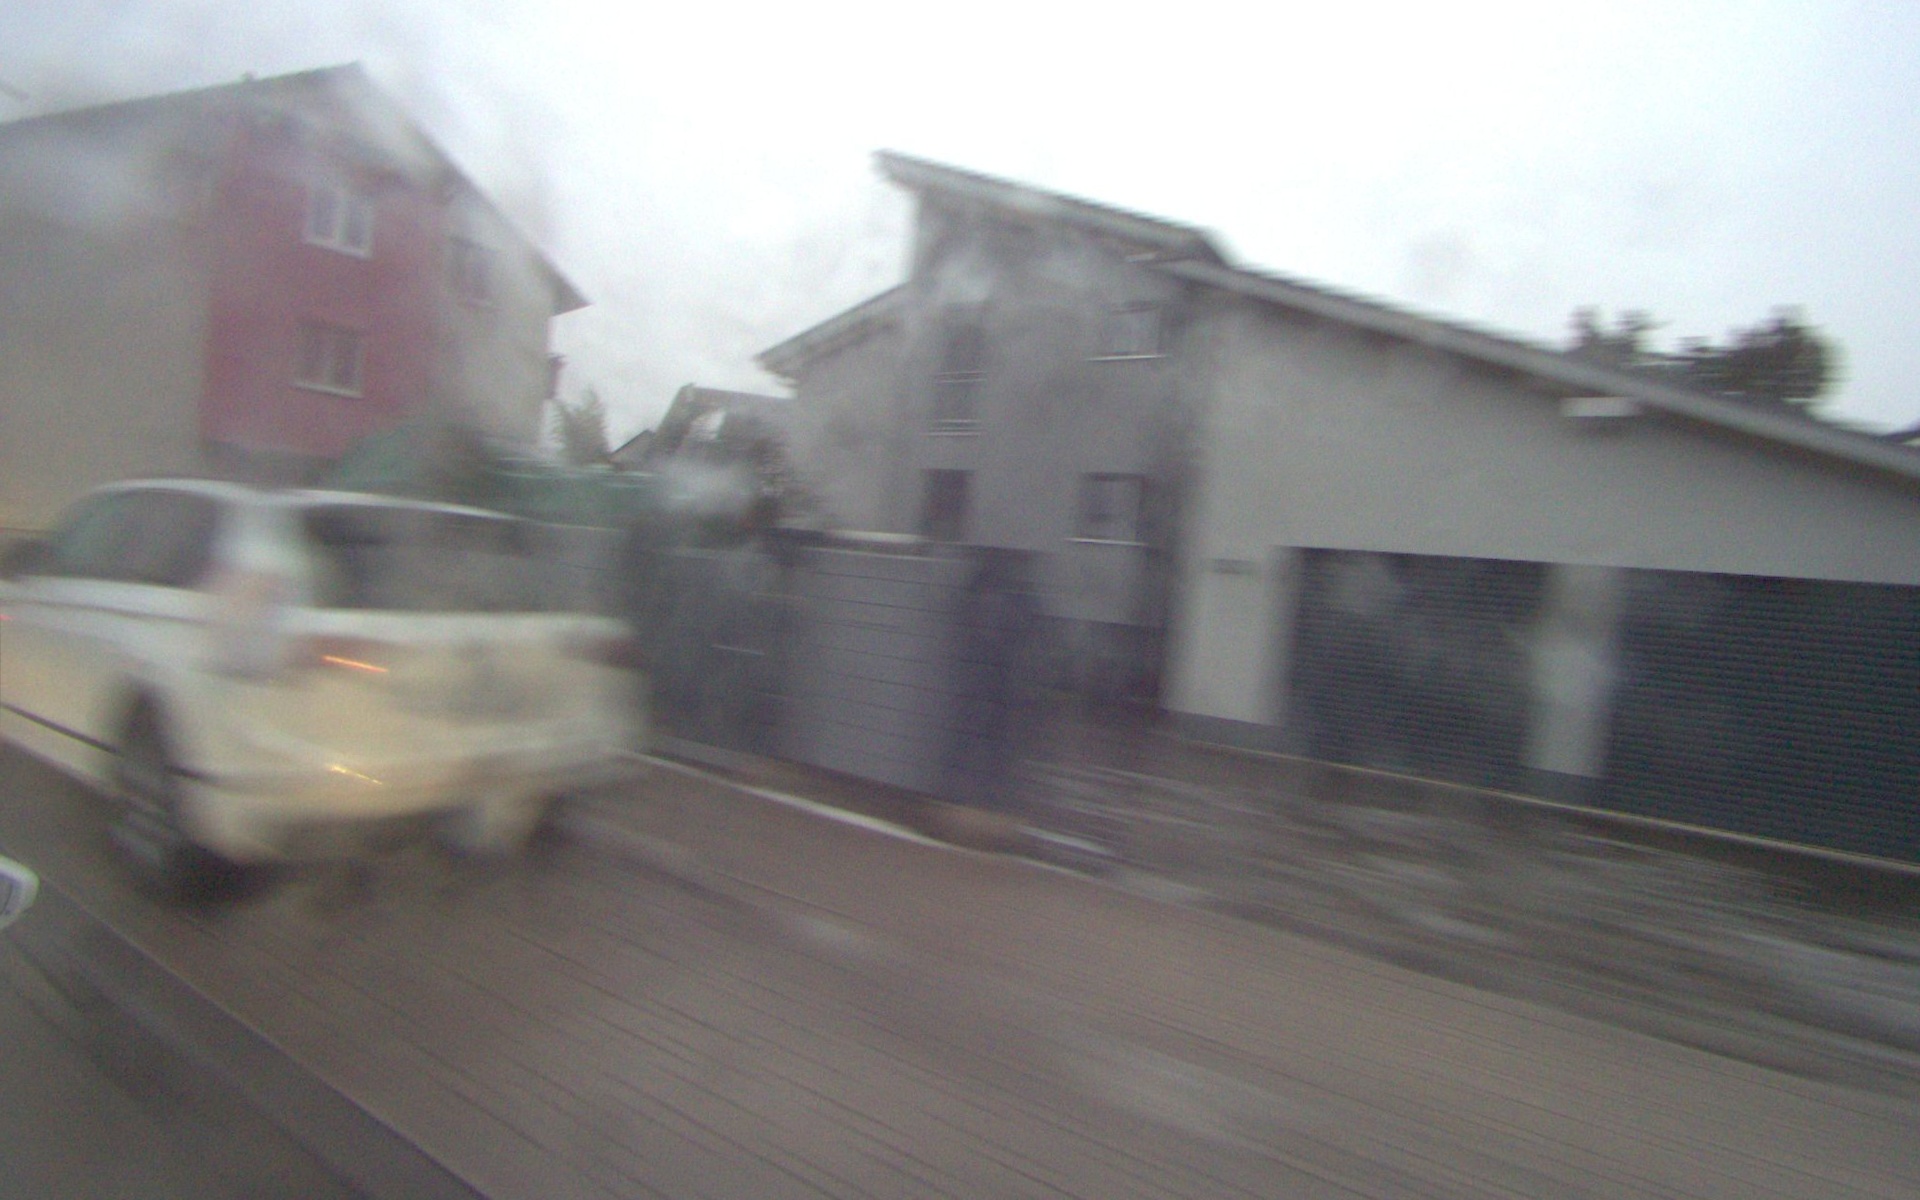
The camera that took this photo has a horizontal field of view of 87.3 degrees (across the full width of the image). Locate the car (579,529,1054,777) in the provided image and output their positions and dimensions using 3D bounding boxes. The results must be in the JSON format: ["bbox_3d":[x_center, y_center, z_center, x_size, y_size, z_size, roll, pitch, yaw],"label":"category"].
[{"bbox_3d":[-1.498,0.355,9.400,4.274,1.603,1.965,7,1,41],"label":"car"}]

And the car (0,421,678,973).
[{"bbox_3d":[-3.623,0.139,5.181,4.266,1.810,1.744,7,3,34],"label":"car"}]

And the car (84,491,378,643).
[{"bbox_3d":[-10.082,-0.454,13.917,3.510,1.661,1.787,7,1,26],"label":"car"}]
